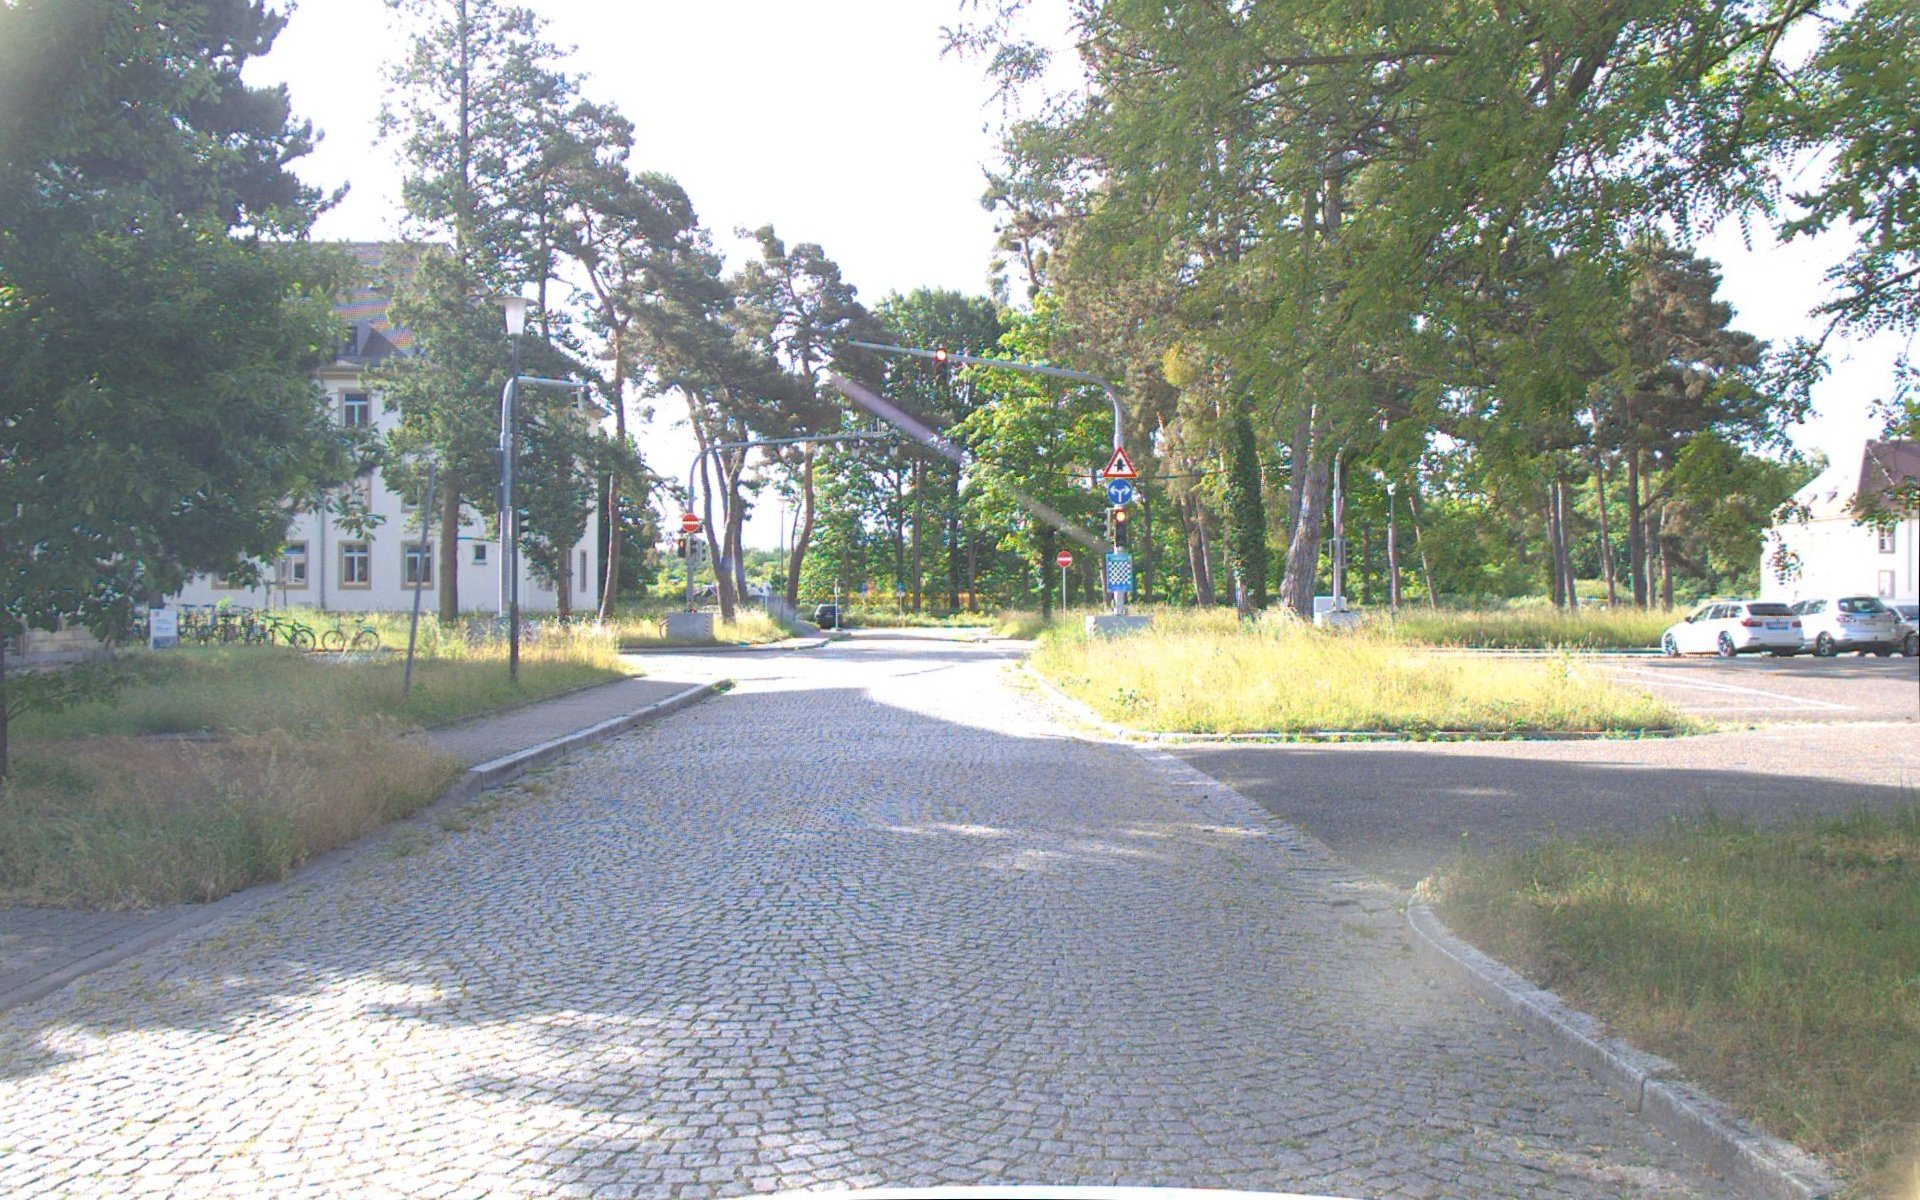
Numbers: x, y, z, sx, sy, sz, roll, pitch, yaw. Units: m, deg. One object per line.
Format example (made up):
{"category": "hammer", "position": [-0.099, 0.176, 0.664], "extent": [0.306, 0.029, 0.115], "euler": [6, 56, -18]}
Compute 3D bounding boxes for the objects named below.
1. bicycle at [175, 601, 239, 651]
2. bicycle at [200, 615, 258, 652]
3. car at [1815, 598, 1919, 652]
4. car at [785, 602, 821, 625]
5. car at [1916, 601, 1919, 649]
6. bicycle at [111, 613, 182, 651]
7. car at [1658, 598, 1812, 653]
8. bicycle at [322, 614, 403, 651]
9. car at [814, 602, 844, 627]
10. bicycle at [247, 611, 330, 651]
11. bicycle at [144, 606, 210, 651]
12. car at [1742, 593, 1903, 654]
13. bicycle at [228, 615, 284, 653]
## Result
{"category": "bicycle", "position": [-22.429, 0.754, 49.327], "extent": [0.809, 1.462, 2.553], "euler": [0, 0, -2]}
{"category": "bicycle", "position": [-21.644, 0.981, 49.010], "extent": [0.809, 1.065, 2.123], "euler": [0, 0, -2]}
{"category": "car", "position": [24.718, 0.633, 43.772], "extent": [1.697, 1.335, 4.327], "euler": [-1, 0, -5]}
{"category": "car", "position": [-10.470, 0.908, 110.478], "extent": [1.745, 1.516, 3.757], "euler": [0, 0, 5]}
{"category": "car", "position": [27.709, 0.671, 44.061], "extent": [1.697, 1.335, 4.327], "euler": [-1, 0, -5]}
{"category": "bicycle", "position": [-24.064, 0.930, 48.972], "extent": [0.882, 1.065, 2.553], "euler": [0, 0, -2]}
{"category": "car", "position": [20.012, 0.626, 42.923], "extent": [1.697, 1.335, 4.327], "euler": [0, 0, -5]}
{"category": "bicycle", "position": [-17.337, 0.934, 48.035], "extent": [2.076, 1.065, 0.828], "euler": [0, 0, -5]}
{"category": "car", "position": [-8.367, 0.915, 105.773], "extent": [1.808, 1.512, 3.997], "euler": [0, 0, -4]}
{"category": "bicycle", "position": [-19.418, 0.892, 47.874], "extent": [2.076, 1.128, 0.828], "euler": [0, 0, -5]}
{"category": "bicycle", "position": [-23.179, 0.830, 49.001], "extent": [0.809, 1.303, 2.553], "euler": [0, 0, -2]}
{"category": "car", "position": [22.474, 0.589, 43.310], "extent": [1.697, 1.502, 4.327], "euler": [0, 0, -5]}
{"category": "bicycle", "position": [-20.878, 0.998, 49.078], "extent": [0.809, 1.065, 2.123], "euler": [0, 0, -2]}
